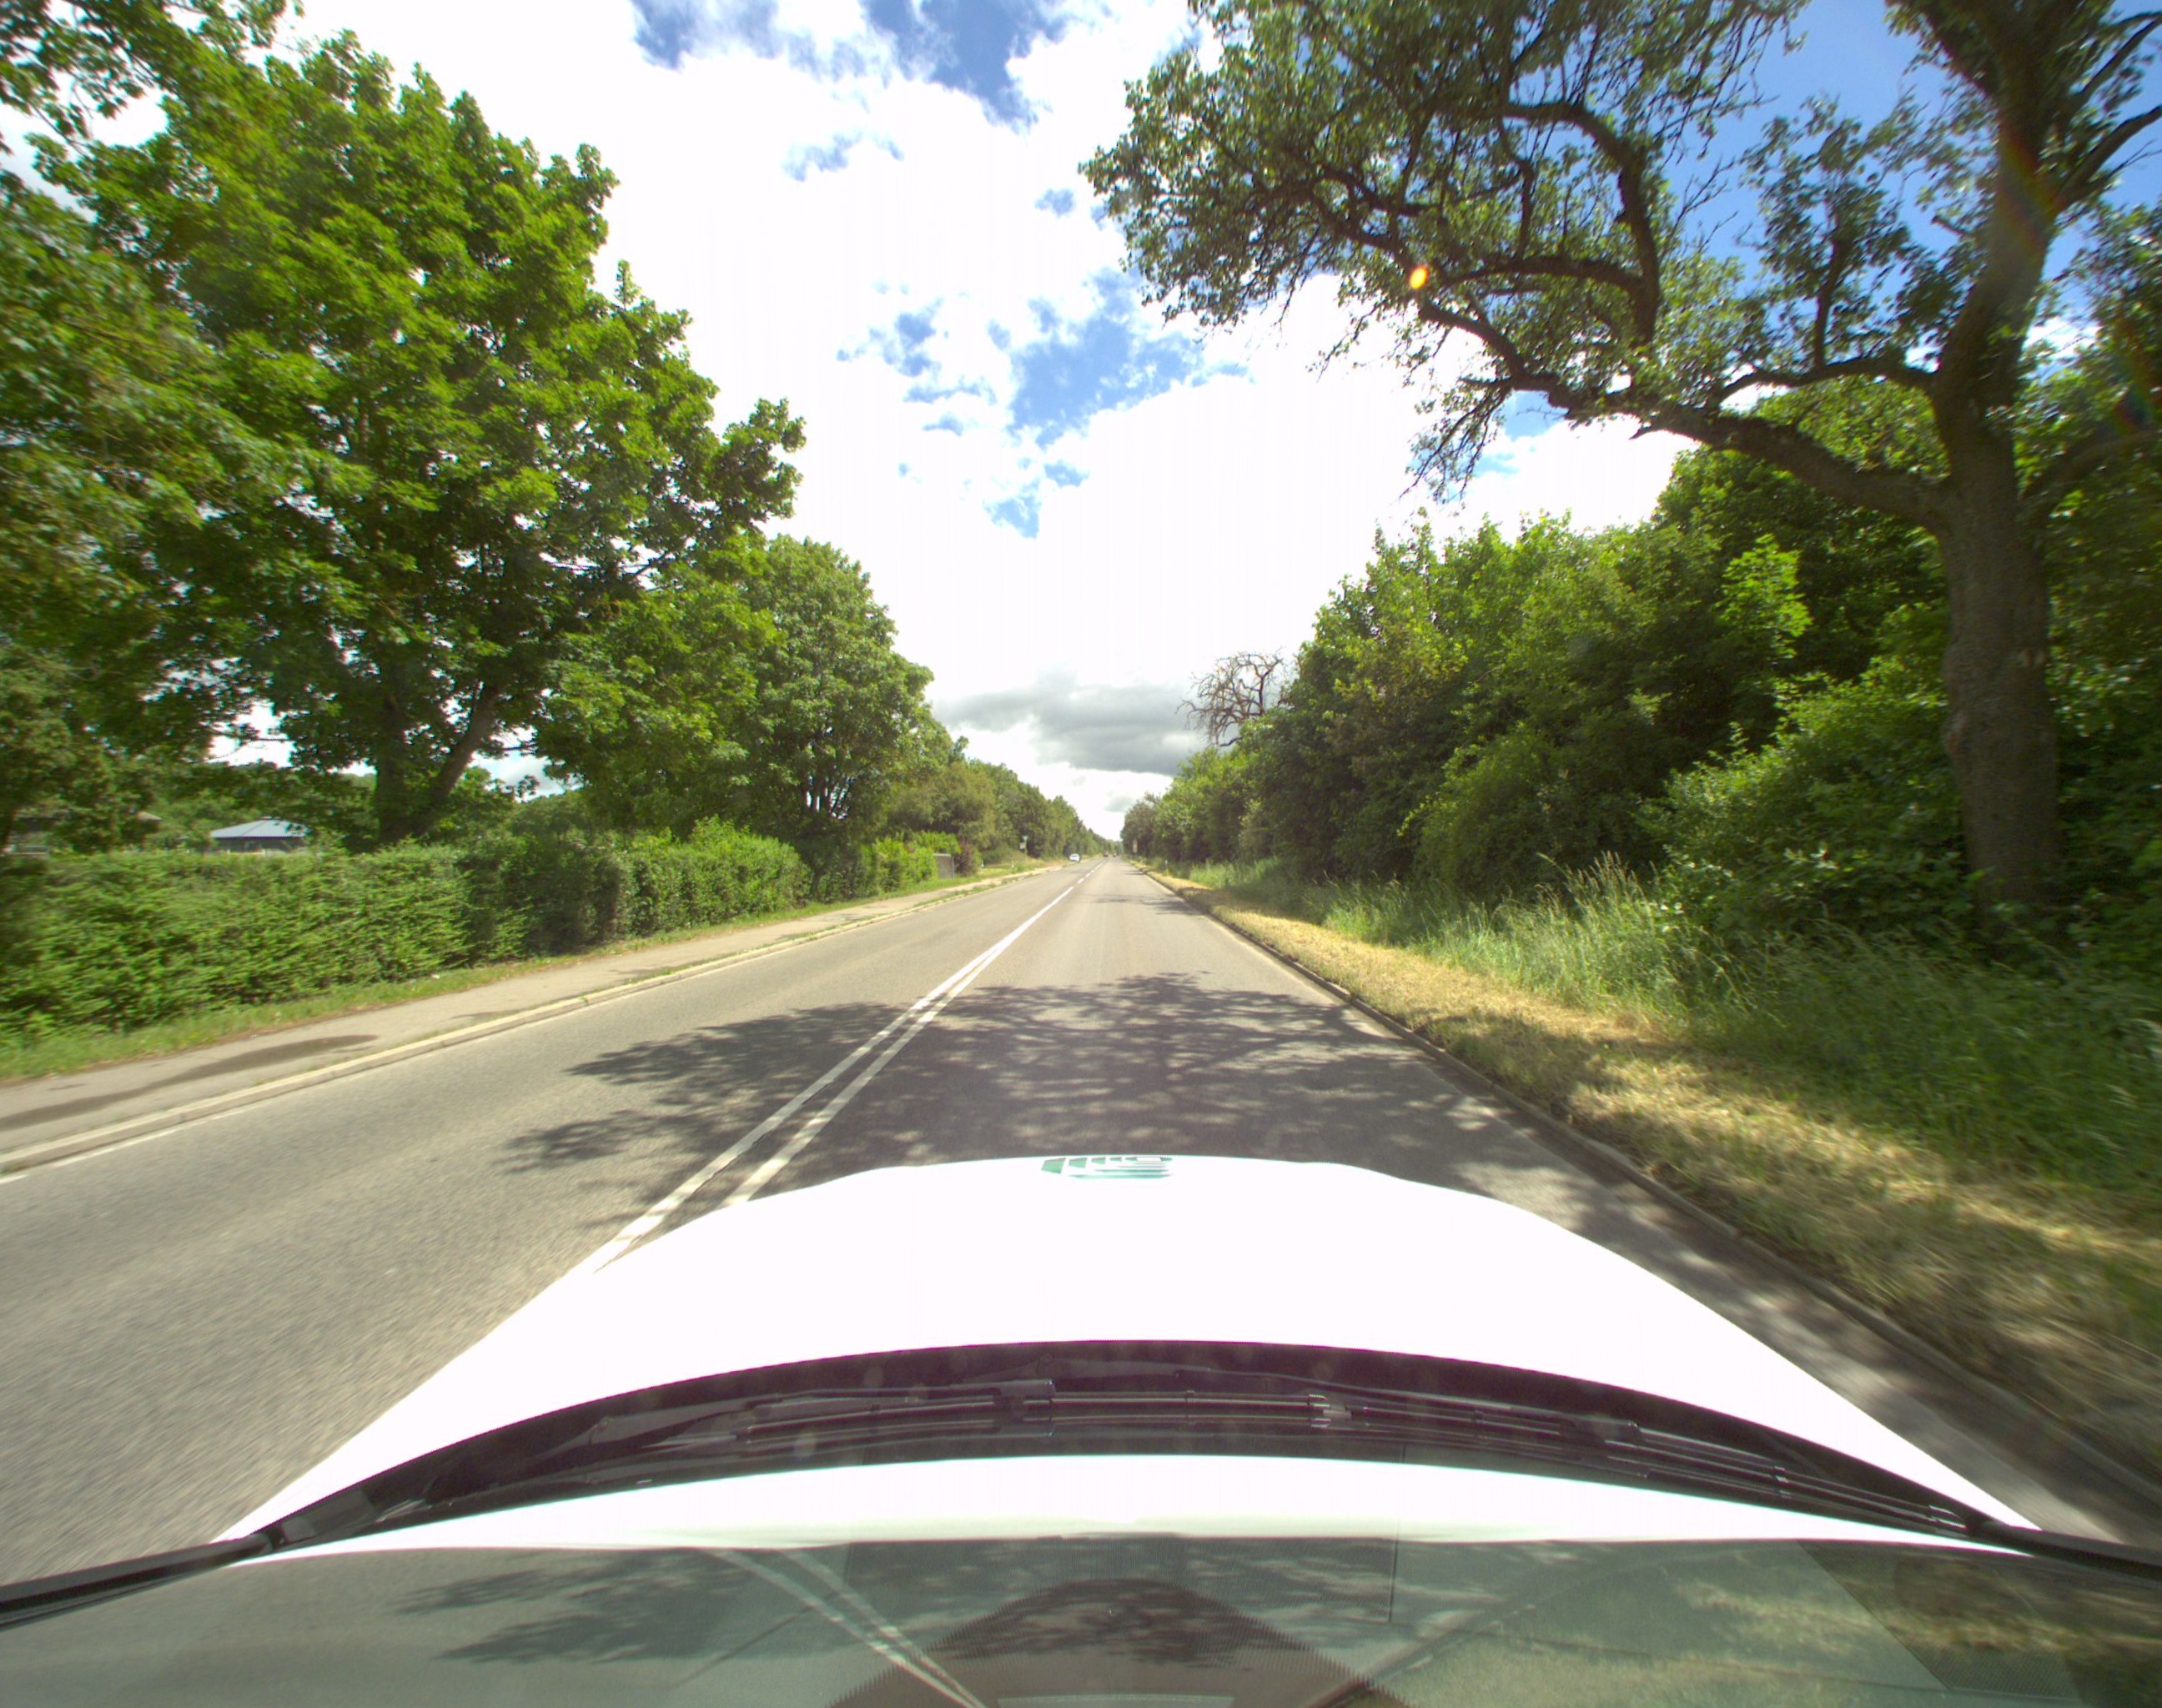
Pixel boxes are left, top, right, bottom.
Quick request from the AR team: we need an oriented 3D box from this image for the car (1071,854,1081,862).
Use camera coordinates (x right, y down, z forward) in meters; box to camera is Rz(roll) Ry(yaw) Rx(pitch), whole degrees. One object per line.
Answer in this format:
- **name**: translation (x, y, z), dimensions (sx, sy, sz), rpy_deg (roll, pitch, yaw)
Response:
- **car**: translation (-0.951, 0.843, 160.391), dimensions (1.791, 1.543, 3.957), rpy_deg (-1, -2, 2)

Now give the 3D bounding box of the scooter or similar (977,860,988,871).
- **scooter or similar**: translation (-11.270, 1.297, 93.078), dimensions (1.234, 1.169, 0.408), rpy_deg (-1, 0, 15)
